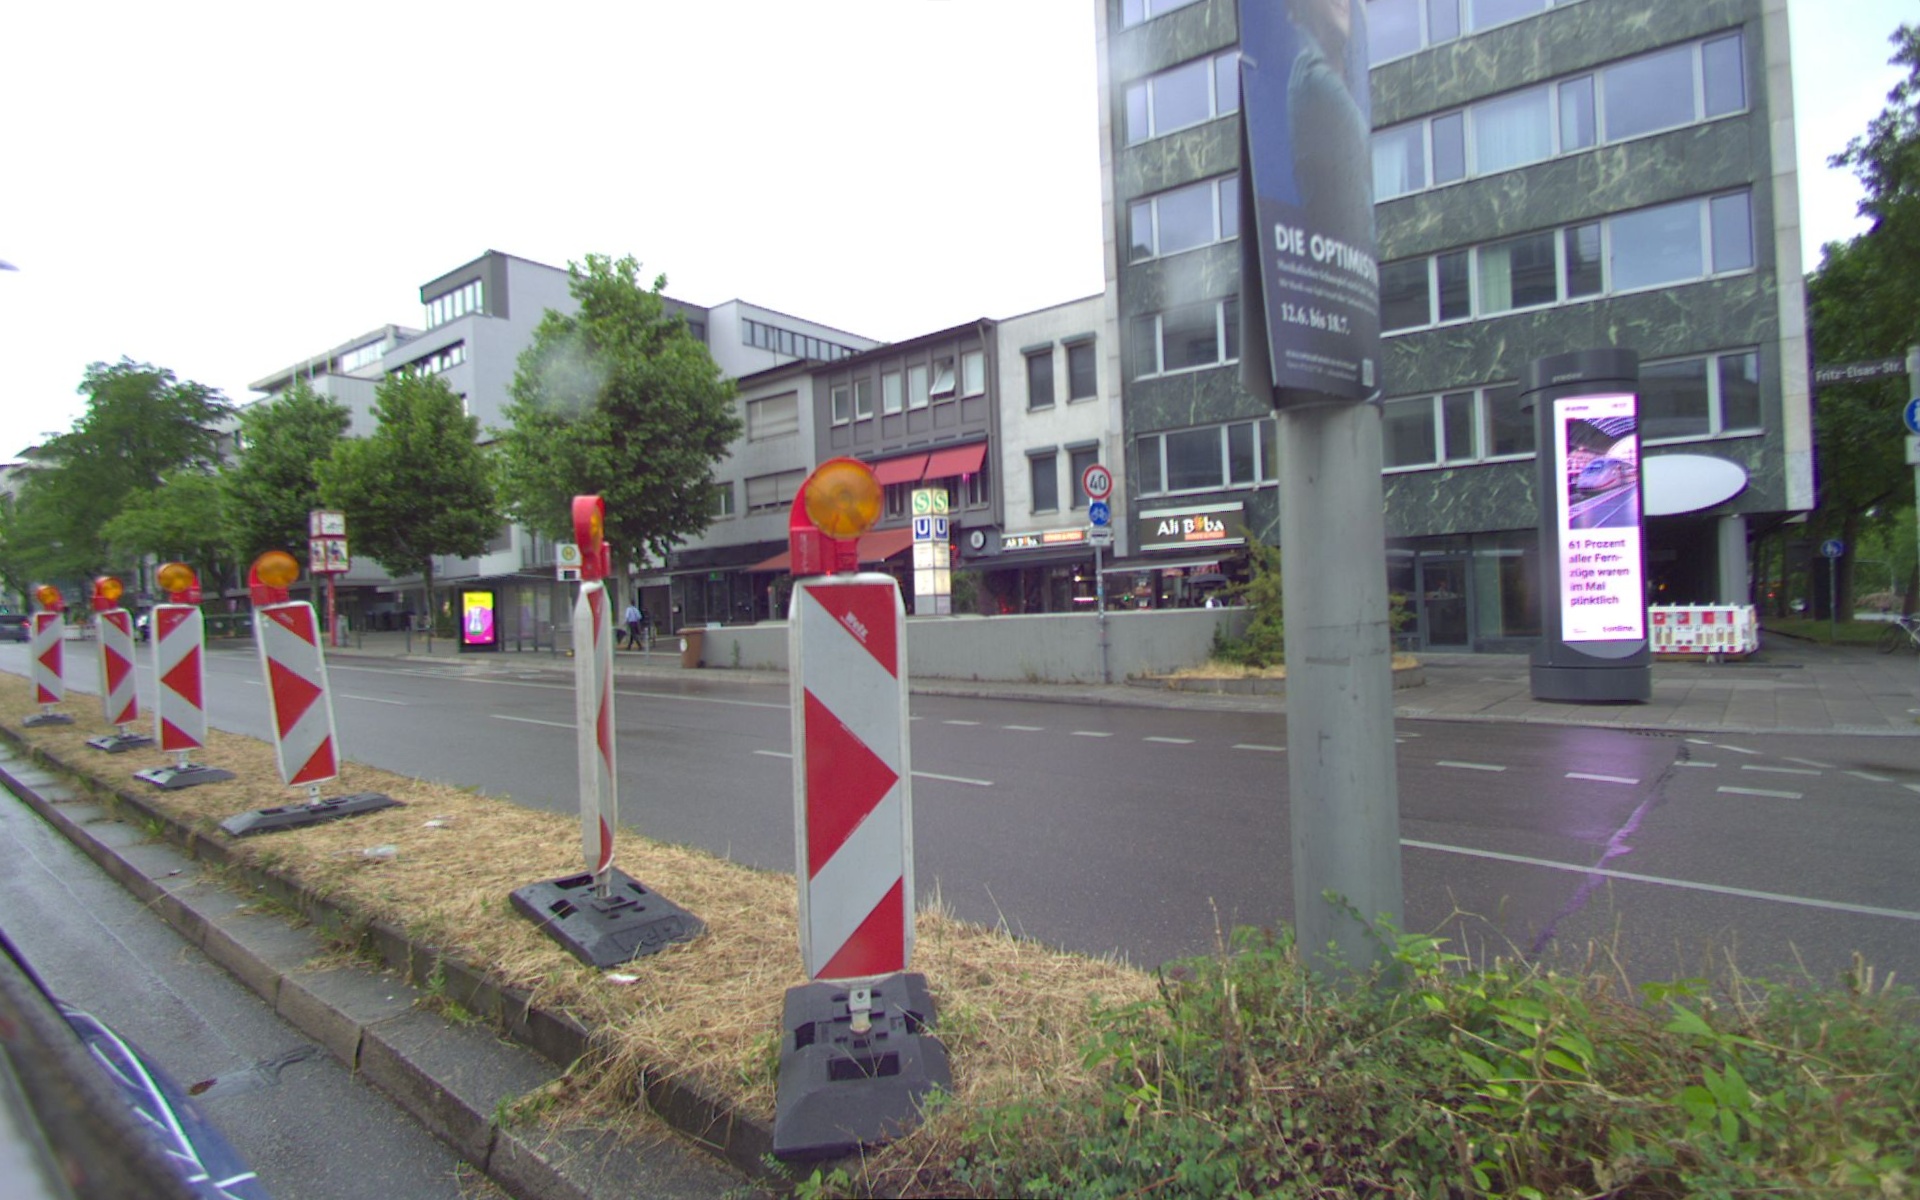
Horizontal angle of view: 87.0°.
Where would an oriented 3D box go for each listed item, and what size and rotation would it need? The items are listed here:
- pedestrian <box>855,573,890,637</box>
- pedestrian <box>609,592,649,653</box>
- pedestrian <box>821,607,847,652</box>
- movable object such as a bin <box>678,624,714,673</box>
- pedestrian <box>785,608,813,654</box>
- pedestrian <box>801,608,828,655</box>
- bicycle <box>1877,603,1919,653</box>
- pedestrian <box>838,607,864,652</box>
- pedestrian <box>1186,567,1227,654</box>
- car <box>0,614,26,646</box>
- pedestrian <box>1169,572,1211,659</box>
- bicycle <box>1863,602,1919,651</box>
[{"bbox_3d":[-2.550,0.140,29.513,0.791,1.837,0.603,-1,0,36],"label":"pedestrian"},{"bbox_3d":[-11.127,0.749,34.016,0.943,2.029,0.910,-1,0,41],"label":"pedestrian"},{"bbox_3d":[-4.417,1.034,35.583,0.611,1.540,0.660,-2,-1,44],"label":"pedestrian"},{"bbox_3d":[-6.120,1.113,23.464,0.660,1.109,0.501,-1,0,39],"label":"movable object such as a bin"},{"bbox_3d":[-5.460,1.046,34.323,0.611,1.540,0.660,-2,-1,44],"label":"pedestrian"},{"bbox_3d":[-4.846,1.039,33.667,0.611,1.540,0.660,-2,-1,44],"label":"pedestrian"},{"bbox_3d":[20.773,0.590,21.528,1.780,1.060,0.579,-1,-1,37],"label":"bicycle"},{"bbox_3d":[-3.774,1.024,35.030,0.611,1.540,0.660,-2,-1,44],"label":"pedestrian"},{"bbox_3d":[5.896,0.254,24.196,0.588,2.029,0.730,0,-1,-29],"label":"pedestrian"},{"bbox_3d":[-61.801,1.919,65.202,4.965,1.942,1.972,1,-1,43],"label":"car"},{"bbox_3d":[5.434,0.368,23.941,0.588,2.029,0.730,0,-1,-29],"label":"pedestrian"},{"bbox_3d":[21.243,0.585,22.402,1.780,1.060,0.579,-1,-1,37],"label":"bicycle"}]
